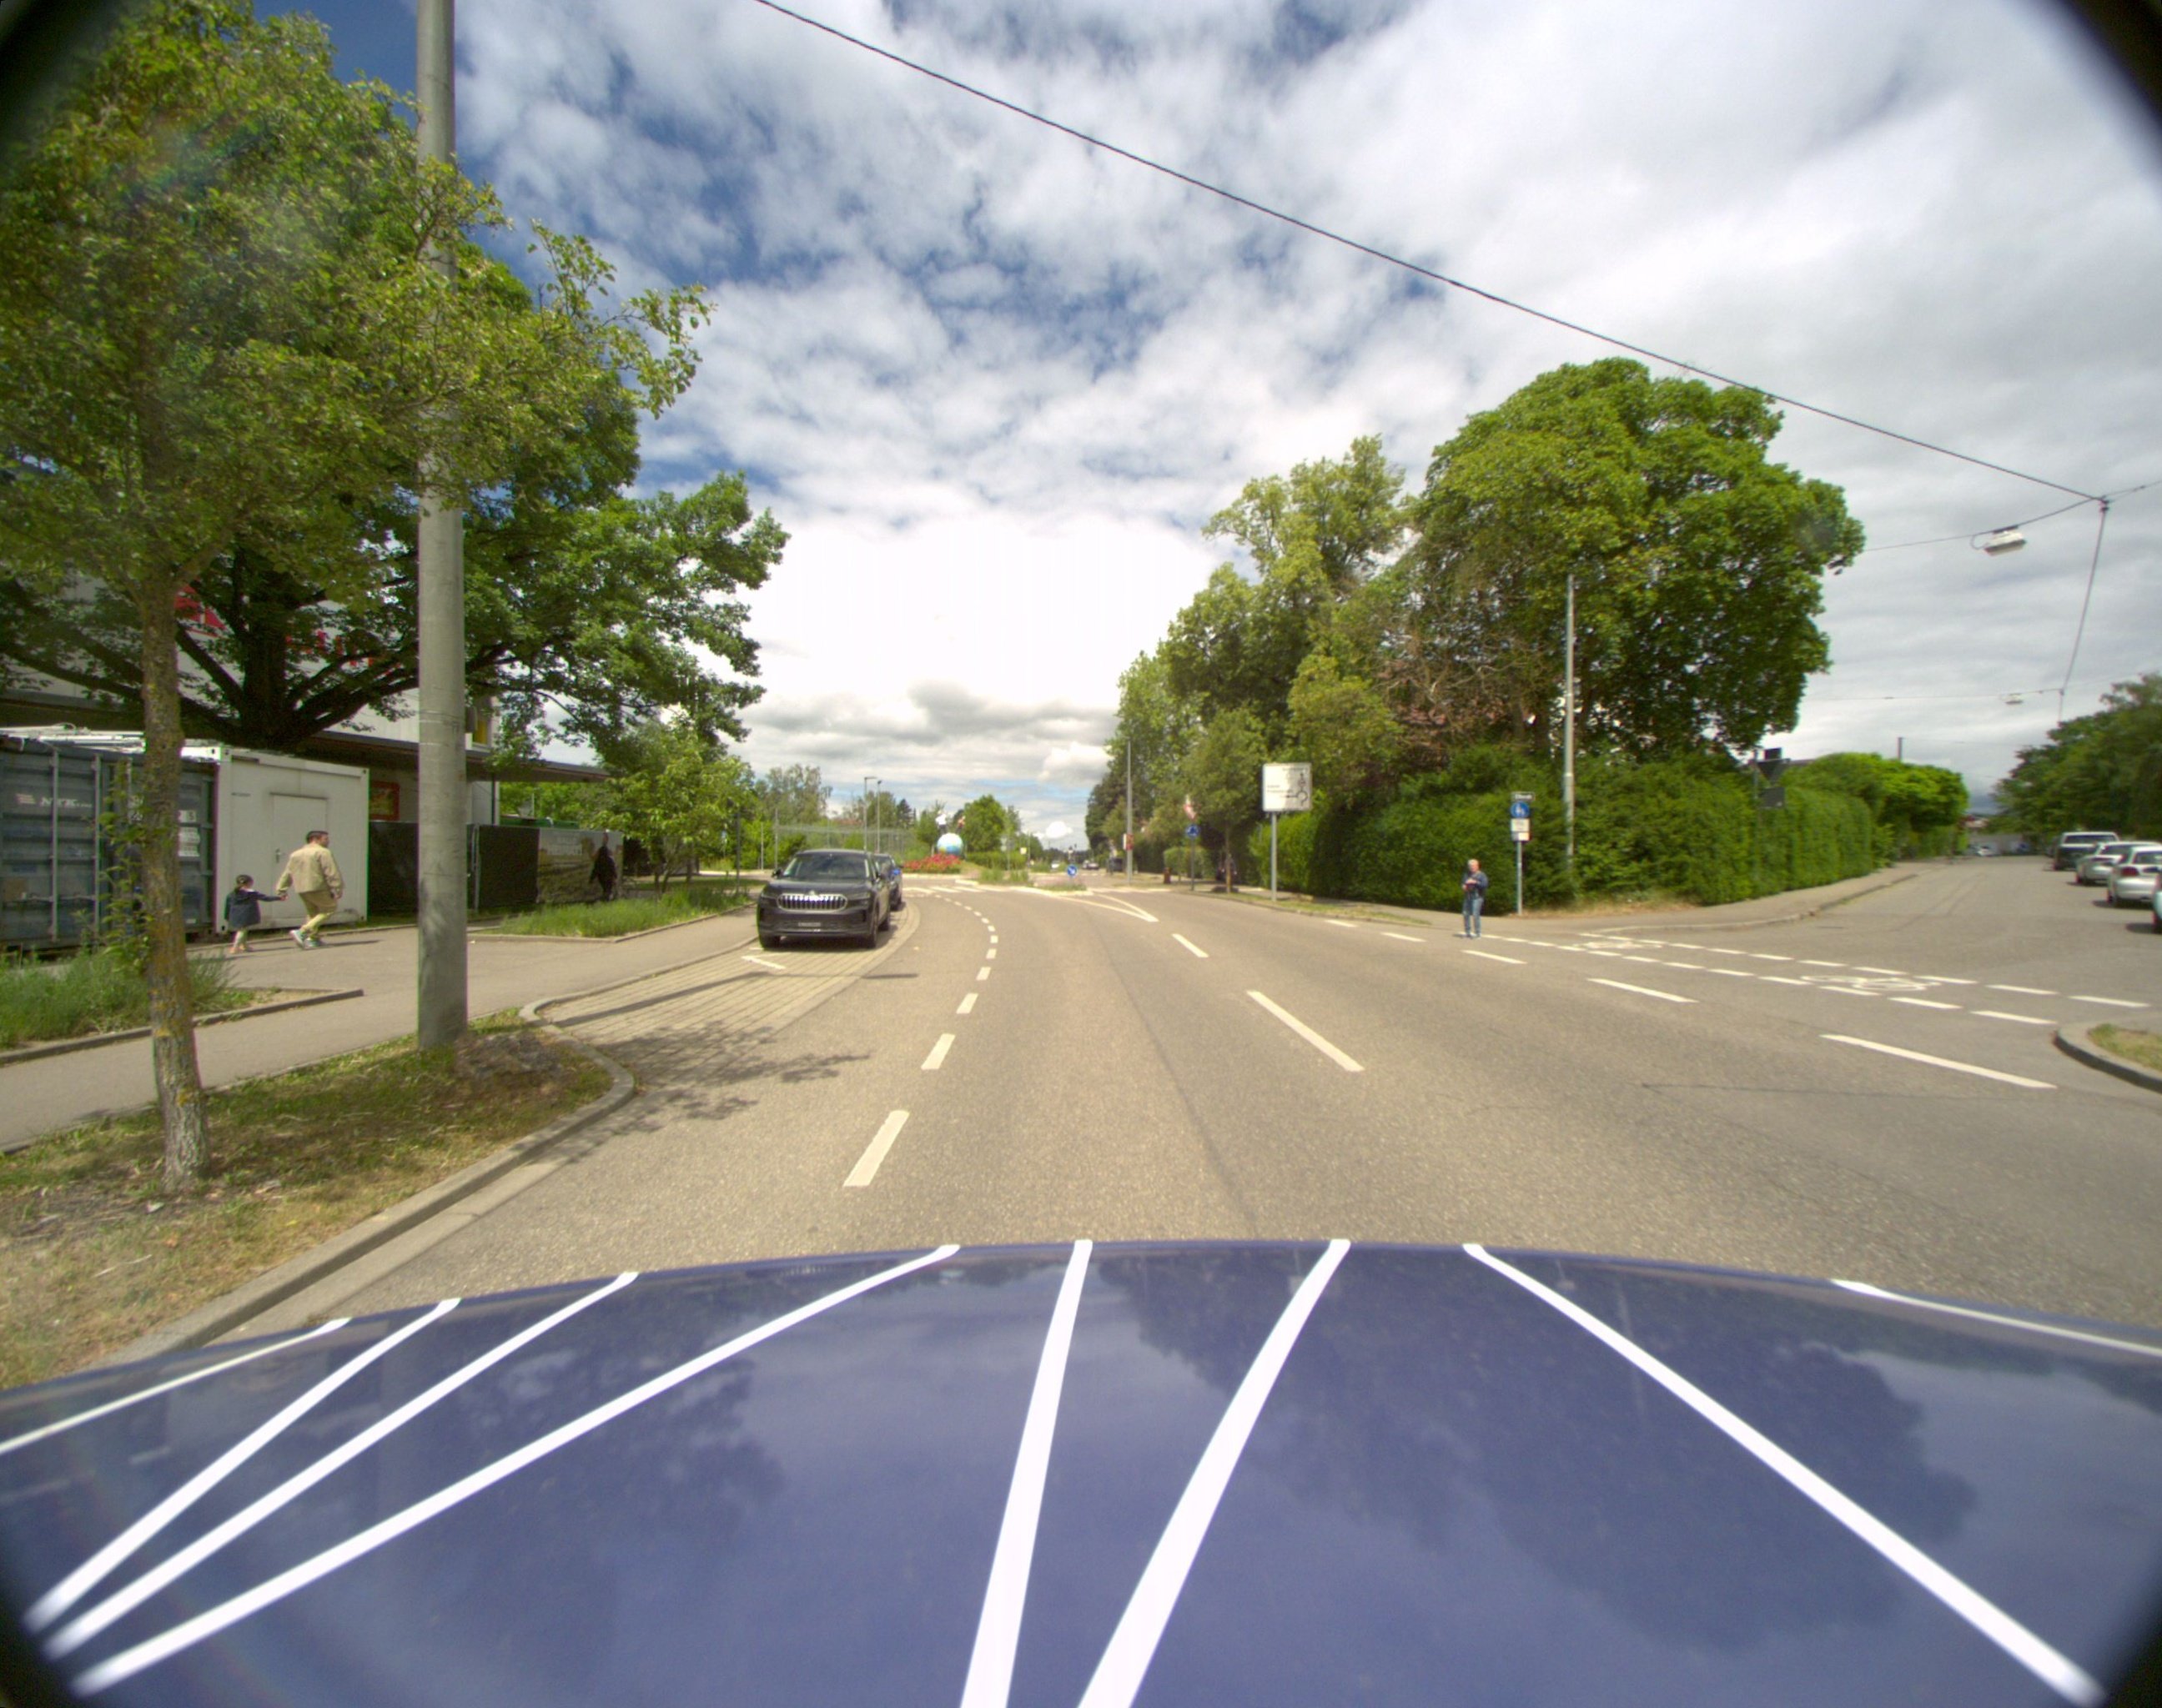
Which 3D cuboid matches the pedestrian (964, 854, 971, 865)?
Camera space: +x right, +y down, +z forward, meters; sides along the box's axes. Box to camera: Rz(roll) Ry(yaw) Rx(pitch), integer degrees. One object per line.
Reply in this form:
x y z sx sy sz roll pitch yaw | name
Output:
-15.877 0.822 106.249 0.765 1.548 0.601 0 1 -20 | pedestrian

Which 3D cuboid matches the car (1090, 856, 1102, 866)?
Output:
2.485 1.197 124.686 1.862 1.568 3.999 0 1 -1 | car

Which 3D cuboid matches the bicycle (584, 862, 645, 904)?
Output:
-13.852 0.845 22.616 0.450 1.148 1.792 0 1 10 | bicycle

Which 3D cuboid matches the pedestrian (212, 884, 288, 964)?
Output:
-11.599 0.963 10.616 0.412 1.052 0.567 0 1 -2 | pedestrian

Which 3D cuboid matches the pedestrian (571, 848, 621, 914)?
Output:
-12.164 0.659 19.090 0.744 1.608 0.767 0 1 -2 | pedestrian

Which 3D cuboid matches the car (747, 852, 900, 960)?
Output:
-4.502 0.805 14.033 1.885 1.612 4.842 1 0 -9 | car

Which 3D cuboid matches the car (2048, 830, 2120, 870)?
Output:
48.730 -0.220 36.903 4.007 1.860 1.960 -1 1 -36 | car

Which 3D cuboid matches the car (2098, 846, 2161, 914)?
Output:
25.243 0.556 17.726 3.541 1.447 1.711 -2 1 -38 | car

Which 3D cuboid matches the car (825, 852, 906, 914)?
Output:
-6.120 0.771 22.043 1.923 1.569 4.424 1 0 -12 | car

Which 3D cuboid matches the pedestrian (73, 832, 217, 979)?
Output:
-11.265 0.587 9.176 0.653 1.687 0.844 0 1 -2 | pedestrian

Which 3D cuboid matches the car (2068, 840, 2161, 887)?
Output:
34.525 0.257 25.330 4.288 1.397 1.701 -2 1 -41 | car

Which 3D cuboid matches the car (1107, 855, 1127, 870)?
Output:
4.029 0.913 85.627 1.681 1.652 3.998 1 0 -5 | car

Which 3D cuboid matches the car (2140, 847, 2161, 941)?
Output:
19.834 0.665 13.206 2.783 1.547 1.585 -2 1 -37 | car

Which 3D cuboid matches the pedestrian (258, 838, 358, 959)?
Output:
-11.062 0.613 10.901 0.652 1.686 0.724 0 1 -2 | pedestrian

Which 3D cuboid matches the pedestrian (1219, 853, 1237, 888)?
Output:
7.202 0.801 37.220 0.745 1.681 0.694 0 1 0 | pedestrian

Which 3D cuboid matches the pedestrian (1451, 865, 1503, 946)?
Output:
7.647 0.969 14.670 0.732 1.500 0.626 -1 1 -36 | pedestrian

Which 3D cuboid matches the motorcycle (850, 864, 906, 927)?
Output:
-4.727 0.934 17.897 1.075 1.298 2.258 3 0 -11 | motorcycle

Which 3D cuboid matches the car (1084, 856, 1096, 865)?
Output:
1.811 1.357 155.794 2.000 1.696 3.998 1 0 -6 | car

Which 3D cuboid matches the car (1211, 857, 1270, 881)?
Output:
10.848 1.031 51.689 3.576 1.389 1.665 3 1 -1 | car
